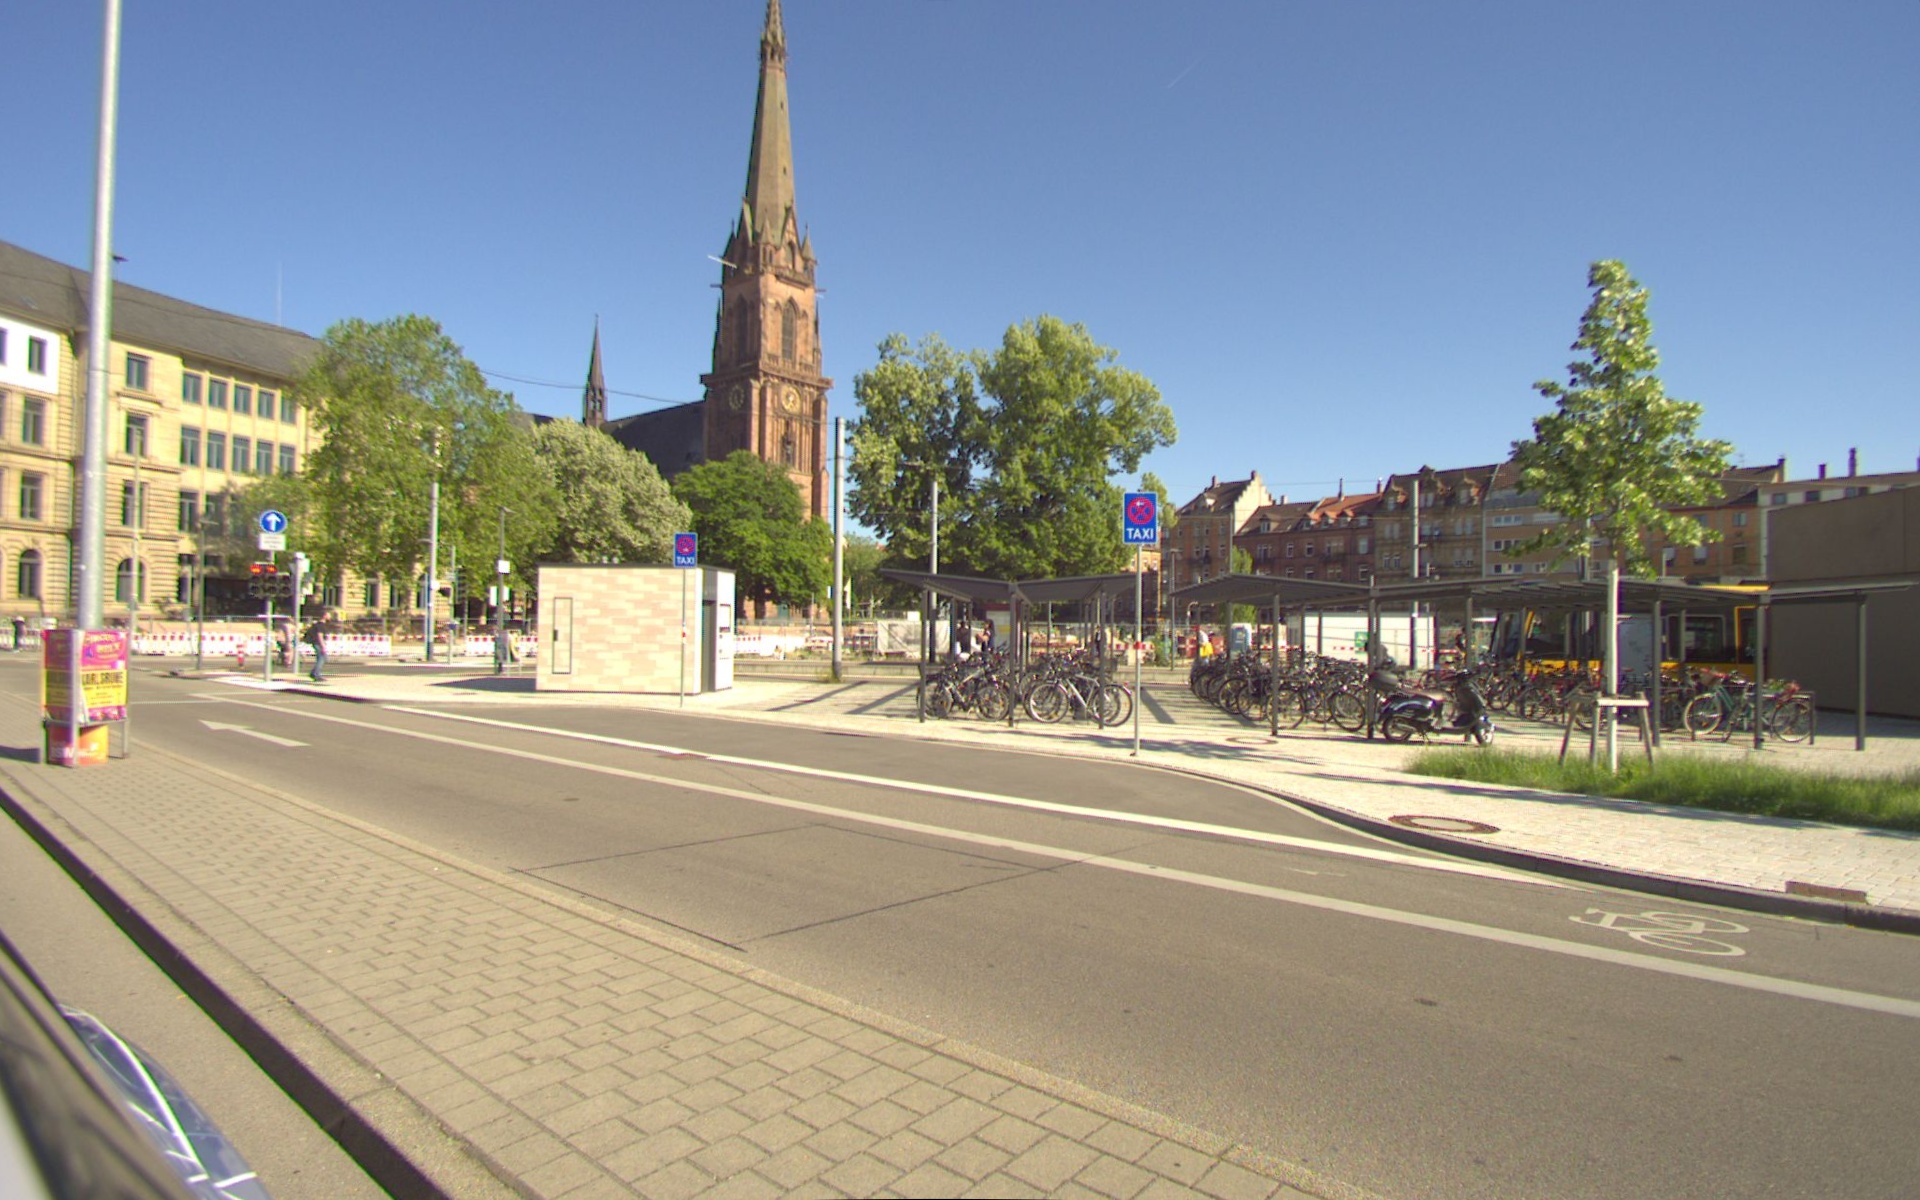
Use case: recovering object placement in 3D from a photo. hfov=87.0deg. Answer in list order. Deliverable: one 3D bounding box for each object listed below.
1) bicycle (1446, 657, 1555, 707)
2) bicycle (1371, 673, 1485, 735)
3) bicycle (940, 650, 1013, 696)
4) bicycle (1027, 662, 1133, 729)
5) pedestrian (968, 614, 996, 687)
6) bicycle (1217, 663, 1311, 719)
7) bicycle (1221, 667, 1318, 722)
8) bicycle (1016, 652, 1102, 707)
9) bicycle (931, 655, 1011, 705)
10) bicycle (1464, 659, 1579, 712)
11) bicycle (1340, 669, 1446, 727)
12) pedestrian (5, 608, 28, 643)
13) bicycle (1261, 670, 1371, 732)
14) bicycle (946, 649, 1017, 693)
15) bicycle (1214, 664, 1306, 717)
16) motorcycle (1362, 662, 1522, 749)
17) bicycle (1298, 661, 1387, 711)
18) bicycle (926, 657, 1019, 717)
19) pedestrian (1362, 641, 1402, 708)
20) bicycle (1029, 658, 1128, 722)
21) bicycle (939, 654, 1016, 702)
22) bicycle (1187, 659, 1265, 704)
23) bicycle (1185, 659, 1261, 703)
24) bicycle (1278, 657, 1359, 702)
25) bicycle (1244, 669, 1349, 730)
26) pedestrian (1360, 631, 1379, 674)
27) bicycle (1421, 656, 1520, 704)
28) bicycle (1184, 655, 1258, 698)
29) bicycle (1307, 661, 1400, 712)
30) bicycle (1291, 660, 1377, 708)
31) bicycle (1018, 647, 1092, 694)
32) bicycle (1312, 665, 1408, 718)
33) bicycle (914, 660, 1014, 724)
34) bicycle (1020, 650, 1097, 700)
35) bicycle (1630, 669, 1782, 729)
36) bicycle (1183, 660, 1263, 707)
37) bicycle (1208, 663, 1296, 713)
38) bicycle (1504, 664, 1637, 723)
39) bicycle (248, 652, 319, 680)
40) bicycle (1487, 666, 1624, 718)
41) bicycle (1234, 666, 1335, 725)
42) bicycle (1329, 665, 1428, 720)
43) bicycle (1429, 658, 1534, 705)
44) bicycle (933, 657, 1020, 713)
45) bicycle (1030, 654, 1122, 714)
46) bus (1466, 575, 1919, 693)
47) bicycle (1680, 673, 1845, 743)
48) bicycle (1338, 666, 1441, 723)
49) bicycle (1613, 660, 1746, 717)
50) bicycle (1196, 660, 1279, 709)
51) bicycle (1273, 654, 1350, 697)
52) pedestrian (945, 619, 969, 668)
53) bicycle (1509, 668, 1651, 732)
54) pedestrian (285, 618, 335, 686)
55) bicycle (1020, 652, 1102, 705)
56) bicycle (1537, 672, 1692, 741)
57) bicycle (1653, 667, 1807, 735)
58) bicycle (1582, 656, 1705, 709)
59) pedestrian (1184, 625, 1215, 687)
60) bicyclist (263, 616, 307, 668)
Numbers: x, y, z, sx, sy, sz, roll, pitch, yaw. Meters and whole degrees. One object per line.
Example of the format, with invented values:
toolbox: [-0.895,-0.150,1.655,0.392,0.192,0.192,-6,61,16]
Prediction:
bicycle: [11.866,1.800,22.256,2.048,1.045,0.533,-1,2,8]
bicycle: [7.768,1.722,16.822,1.661,0.980,0.406,-1,0,3]
bicycle: [0.393,1.700,23.662,1.663,1.006,0.406,0,0,8]
bicycle: [2.022,1.605,17.093,1.753,1.083,0.406,1,-3,6]
pedestrian: [0.573,1.312,26.579,0.693,1.874,0.620,1,-2,2]
bicycle: [5.814,1.736,19.376,1.661,0.980,0.406,1,0,3]
bicycle: [5.728,1.749,18.768,1.661,0.980,0.406,-1,0,3]
bicycle: [2.053,1.641,20.973,1.755,1.083,0.406,1,0,6]
bicycle: [0.229,1.675,21.404,1.663,1.006,0.406,0,0,8]
bicycle: [11.776,1.794,21.265,2.048,1.045,0.533,-1,2,8]
bicycle: [7.643,1.724,17.892,1.661,0.980,0.406,-1,0,3]
pedestrian: [-46.180,1.253,49.543,0.540,1.733,0.538,0,-2,3]
bicycle: [5.934,1.684,16.890,1.661,0.980,0.406,-1,0,3]
bicycle: [0.518,1.701,24.188,1.663,1.006,0.406,0,0,8]
bicycle: [5.902,1.779,19.959,1.661,0.980,0.406,1,0,3]
motorcycle: [7.193,1.569,15.160,2.059,1.228,0.569,-1,-2,3]
bicycle: [7.861,1.759,20.826,1.661,0.980,0.406,-1,0,3]
bicycle: [0.231,1.596,18.602,1.663,1.006,0.406,2,0,8]
pedestrian: [12.533,2.207,30.098,0.757,1.931,0.805,1,-2,-11]
bicycle: [2.140,1.616,18.337,1.753,1.083,0.406,1,0,6]
bicycle: [0.385,1.704,22.285,1.663,1.006,0.406,0,0,8]
bicycle: [6.053,1.859,23.051,1.661,0.980,0.406,1,-5,3]
bicycle: [6.137,1.880,23.624,1.661,0.980,0.406,1,-5,3]
bicycle: [8.073,1.787,22.839,1.661,0.980,0.406,-1,0,3]
bicycle: [5.794,1.708,17.463,1.661,0.980,0.406,1,0,3]
pedestrian: [18.115,2.314,44.754,0.637,1.885,0.529,0,-2,5]
bicycle: [12.300,1.918,24.429,2.048,1.045,0.533,1,3,8]
bicycle: [6.256,1.835,24.312,1.661,0.980,0.406,1,-5,3]
bicycle: [7.858,1.729,20.229,1.661,0.980,0.406,-1,0,3]
bicycle: [7.989,1.788,21.623,1.661,0.980,0.406,-1,0,3]
bicycle: [2.314,1.722,24.678,1.755,1.083,0.406,1,0,6]
bicycle: [7.716,1.762,19.529,1.661,0.980,0.406,-1,0,3]
bicycle: [0.067,1.573,17.383,1.663,1.006,0.406,2,0,8]
bicycle: [2.273,1.730,23.499,1.755,1.083,0.406,1,0,6]
bicycle: [13.479,1.779,18.330,2.117,1.005,0.690,-1,0,7]
bicycle: [5.786,1.836,22.297,1.661,0.980,0.406,1,-5,3]
bicycle: [5.925,1.784,20.564,1.661,0.980,0.406,1,-5,3]
bicycle: [11.322,1.732,18.813,2.048,1.045,0.533,-1,0,8]
bicycle: [-20.995,2.045,31.461,0.731,0.788,2.050,0,-2,3]
bicycle: [11.614,1.797,19.791,2.208,0.951,0.685,-1,0,7]
bicycle: [5.815,1.708,18.189,1.661,0.980,0.406,1,0,3]
bicycle: [7.842,1.729,19.013,1.661,0.980,0.406,-1,0,3]
bicycle: [12.031,1.878,23.374,2.048,1.045,0.533,-1,-4,8]
bicycle: [0.328,1.663,19.945,1.663,1.006,0.406,2,0,8]
bicycle: [2.235,1.619,19.583,1.755,1.083,0.406,1,0,6]
bus: [21.972,0.932,28.645,13.462,3.095,2.859,0,-2,6]
bicycle: [12.767,1.713,16.138,2.048,1.045,0.533,-1,0,8]
bicycle: [7.823,1.721,18.460,1.661,0.980,0.406,-1,0,3]
bicycle: [13.853,1.698,19.526,2.048,1.045,0.533,-1,0,8]
bicycle: [5.925,1.804,21.640,1.661,0.980,0.406,1,-5,3]
bicycle: [8.291,1.784,23.915,1.661,0.980,0.406,-1,0,3]
pedestrian: [-0.099,1.674,39.072,0.610,1.874,0.703,2,-2,-39]
bicycle: [10.787,1.739,17.666,2.048,1.045,0.533,-1,0,8]
pedestrian: [-17.263,1.362,26.891,0.987,1.756,0.631,2,-2,-42]
bicycle: [2.193,1.693,22.029,1.755,1.083,0.406,1,0,6]
bicycle: [10.573,1.710,16.389,2.048,1.045,0.533,-1,0,8]
bicycle: [12.989,1.695,17.116,2.030,1.087,0.604,-1,0,7]
bicycle: [14.078,1.695,20.878,2.048,1.045,0.533,-1,0,8]
pedestrian: [6.410,1.496,27.137,0.692,1.635,0.620,0,-2,1]
bicyclist: [-20.989,1.306,31.473,0.731,1.583,0.885,0,-2,4]
